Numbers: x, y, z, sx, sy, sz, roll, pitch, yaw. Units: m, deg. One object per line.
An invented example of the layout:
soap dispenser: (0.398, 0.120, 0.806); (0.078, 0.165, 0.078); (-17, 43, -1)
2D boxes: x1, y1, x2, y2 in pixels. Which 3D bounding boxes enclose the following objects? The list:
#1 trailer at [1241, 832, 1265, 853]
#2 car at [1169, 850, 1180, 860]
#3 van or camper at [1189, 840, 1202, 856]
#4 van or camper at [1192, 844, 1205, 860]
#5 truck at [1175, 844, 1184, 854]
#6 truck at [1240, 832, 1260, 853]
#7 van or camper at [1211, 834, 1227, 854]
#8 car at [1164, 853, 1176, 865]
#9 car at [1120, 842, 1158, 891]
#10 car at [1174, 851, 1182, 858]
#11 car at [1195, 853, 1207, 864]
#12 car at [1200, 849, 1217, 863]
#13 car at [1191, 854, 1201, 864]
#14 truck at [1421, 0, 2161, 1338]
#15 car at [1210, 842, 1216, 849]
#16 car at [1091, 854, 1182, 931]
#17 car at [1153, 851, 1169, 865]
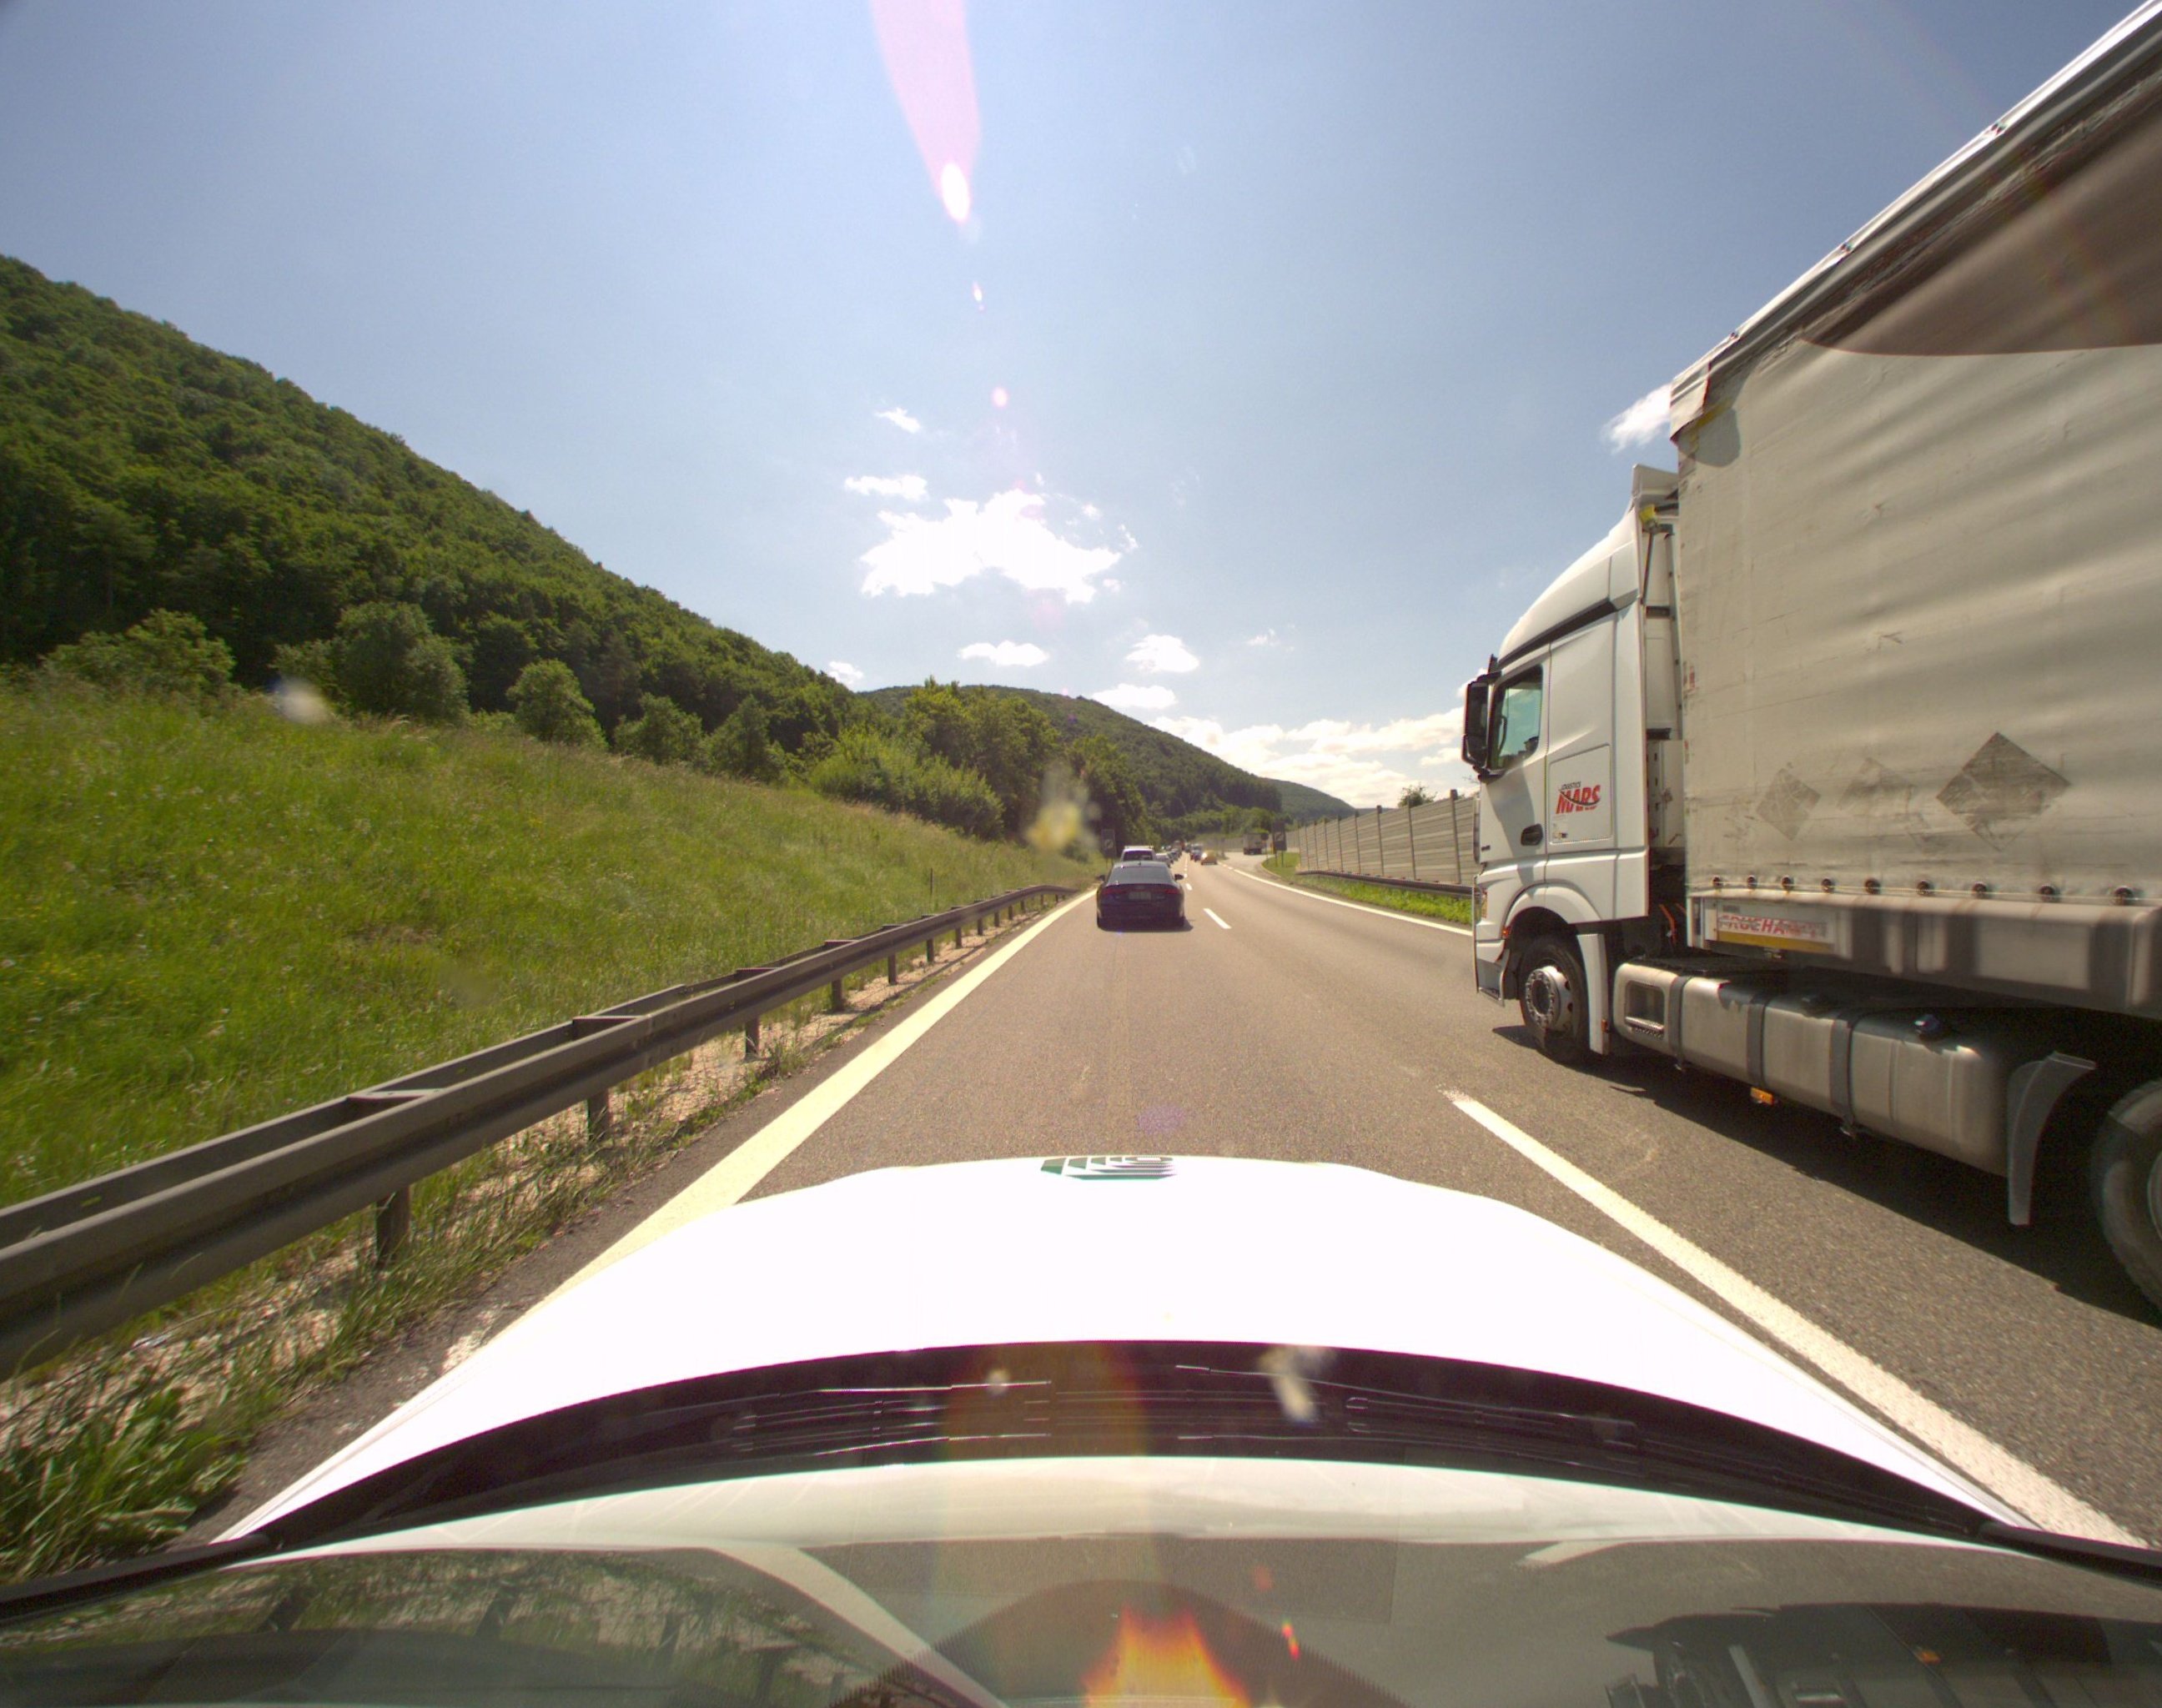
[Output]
trailer: (32.363, -2.124, 153.856); (3.393, 3.900, 11.174); (-2, 0, 7)
car: (15.399, 0.211, 133.932); (1.512, 1.553, 3.523); (0, 0, 9)
van or camper: (28.931, -1.525, 206.048); (2.781, 3.907, 6.176); (0, -1, 6)
van or camper: (22.961, -0.375, 158.950); (2.416, 3.155, 5.214); (0, -1, 8)
truck: (25.854, -1.263, 214.453); (2.052, 2.605, 5.628); (0, 0, 9)
truck: (33.089, -2.173, 159.808); (3.393, 3.900, 5.398); (-2, 0, 7)
van or camper: (27.677, -1.922, 163.877); (2.781, 3.841, 6.176); (0, -1, 6)
car: (11.713, 0.695, 107.215); (1.512, 1.553, 3.522); (0, 0, 8)
car: (2.437, 0.496, 34.640); (1.515, 1.968, 3.517); (0, 0, 3)
car: (20.155, 0.147, 168.831); (1.512, 1.553, 3.523); (0, 0, 9)
car: (16.407, 0.603, 111.339); (1.521, 1.525, 3.604); (0, -1, 8)
car: (14.490, 0.201, 92.598); (1.868, 1.499, 4.009); (-2, 0, 8)
car: (18.652, 0.838, 131.961); (1.521, 1.525, 3.604); (0, -1, 8)
truck: (4.516, -0.601, 4.584); (2.711, 4.068, 5.752); (-1, -1, 0)
car: (39.434, -2.405, 242.576); (1.567, 2.013, 3.435); (-2, 0, 8)
car: (1.249, 0.781, 18.241); (1.804, 1.514, 3.518); (-1, 0, 4)
car: (8.202, 0.424, 83.452); (1.514, 1.294, 3.519); (-2, 0, 5)
